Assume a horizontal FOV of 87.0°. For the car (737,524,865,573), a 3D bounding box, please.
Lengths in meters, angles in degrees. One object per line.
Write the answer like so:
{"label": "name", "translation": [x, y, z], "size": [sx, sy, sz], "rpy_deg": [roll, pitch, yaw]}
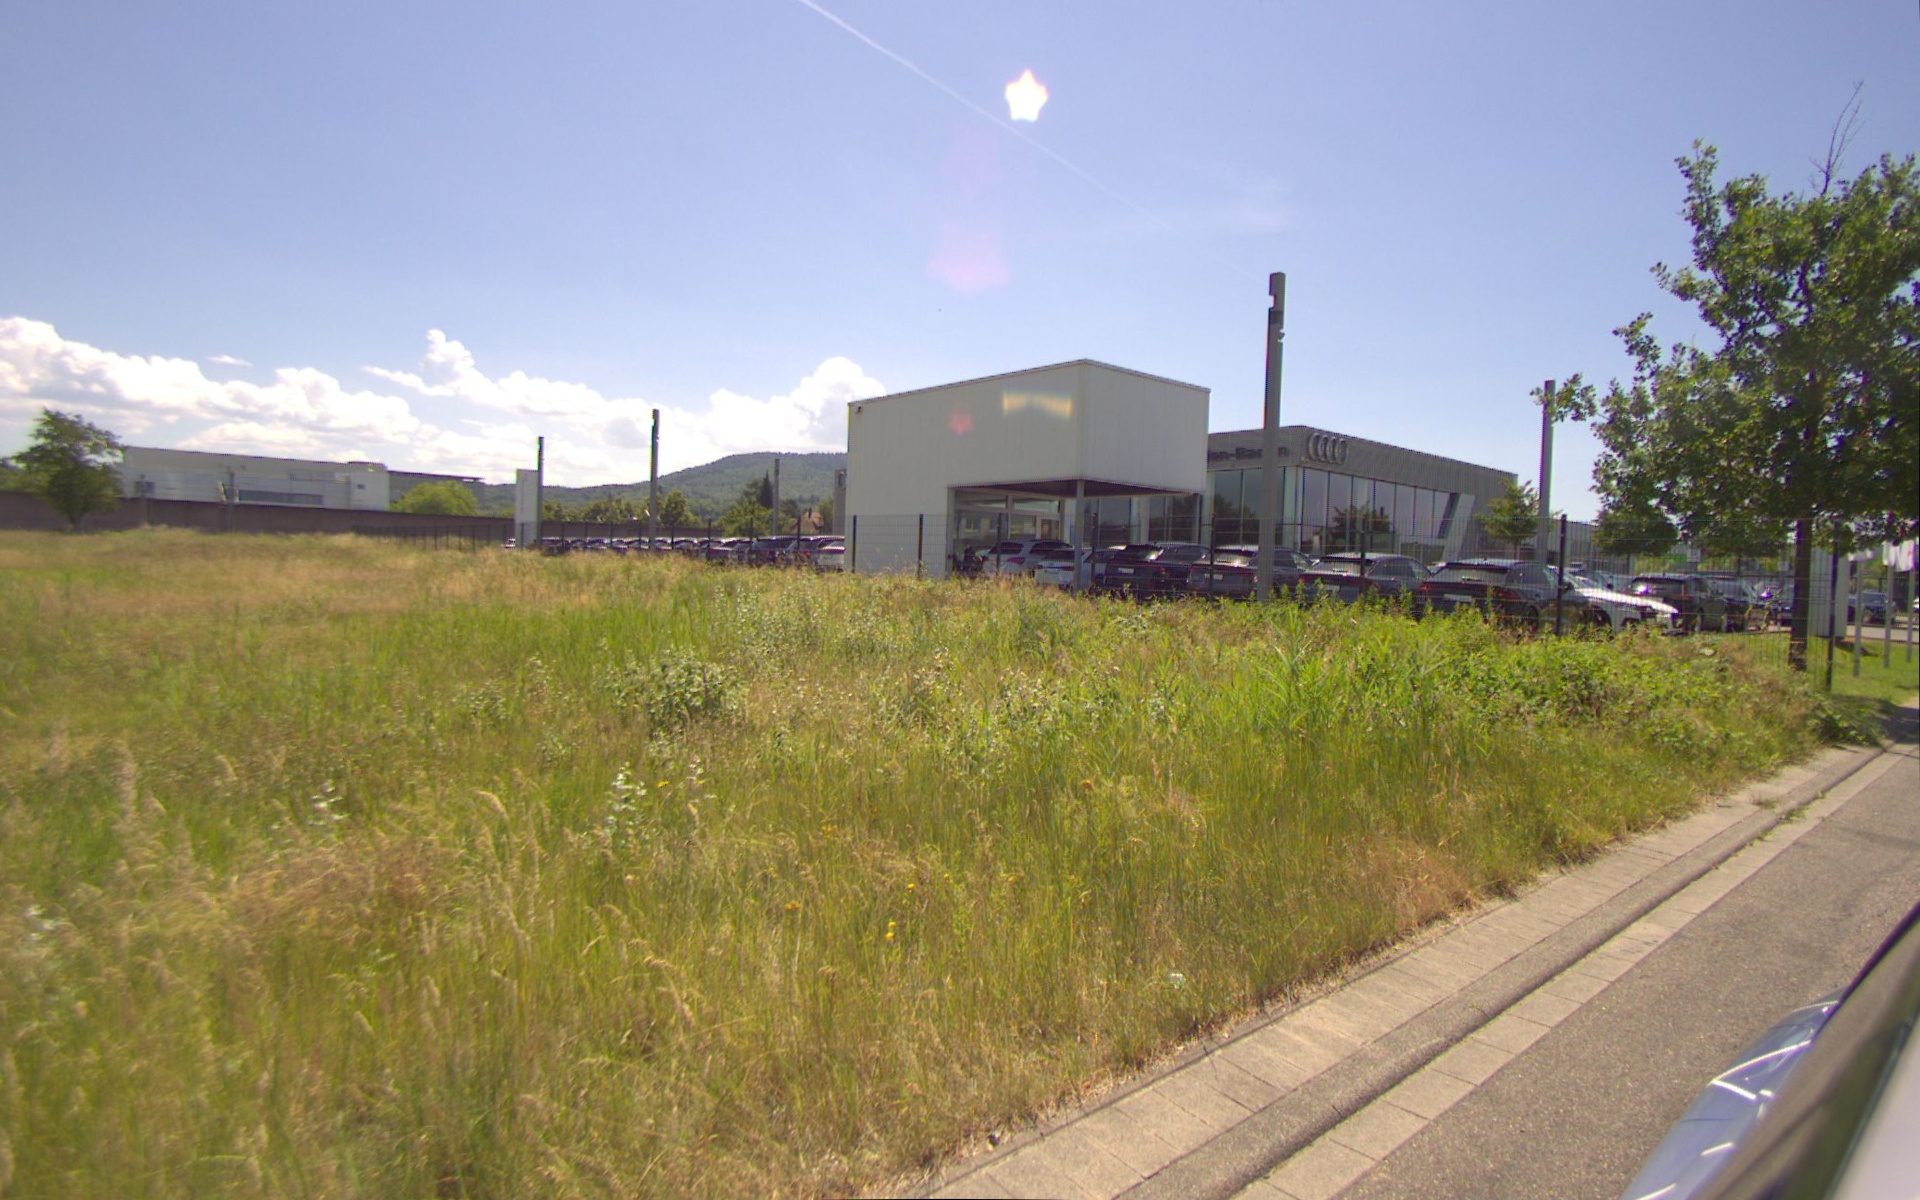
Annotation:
{"label": "car", "translation": [-6.435, -2.086, 41.203], "size": [4.722, 1.746, 2.030], "rpy_deg": [0, 4, -39]}

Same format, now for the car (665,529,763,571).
{"label": "car", "translation": [-11.399, -2.309, 46.951], "size": [3.930, 1.807, 1.998], "rpy_deg": [0, 3, -41]}

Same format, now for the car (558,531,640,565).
{"label": "car", "translation": [-20.641, -2.959, 57.923], "size": [3.930, 1.807, 1.998], "rpy_deg": [0, 3, -41]}

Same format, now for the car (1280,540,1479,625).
{"label": "car", "translation": [9.365, -0.381, 22.418], "size": [4.722, 1.630, 2.030], "rpy_deg": [0, 4, -39]}

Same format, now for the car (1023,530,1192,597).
{"label": "car", "translation": [4.228, -1.011, 28.657], "size": [4.722, 1.674, 2.030], "rpy_deg": [0, 4, -39]}

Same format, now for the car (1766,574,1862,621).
{"label": "car", "translation": [32.359, -0.149, 38.303], "size": [4.900, 1.474, 1.966], "rpy_deg": [-2, 5, -41]}

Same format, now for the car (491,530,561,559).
{"label": "car", "translation": [-29.406, -3.732, 68.542], "size": [3.930, 1.807, 1.998], "rpy_deg": [0, 3, -41]}

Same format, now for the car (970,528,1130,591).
{"label": "car", "translation": [2.801, -1.202, 30.760], "size": [4.722, 1.674, 2.030], "rpy_deg": [0, 4, -39]}

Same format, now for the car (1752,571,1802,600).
{"label": "car", "translation": [54.715, -0.956, 67.773], "size": [4.341, 1.714, 1.829], "rpy_deg": [0, 5, -42]}

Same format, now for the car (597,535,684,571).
{"label": "car", "translation": [-16.983, -2.496, 53.832], "size": [3.930, 1.807, 1.998], "rpy_deg": [0, 3, -41]}

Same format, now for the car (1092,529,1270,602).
{"label": "car", "translation": [5.861, -0.883, 26.595], "size": [4.722, 1.700, 2.030], "rpy_deg": [0, 4, -39]}

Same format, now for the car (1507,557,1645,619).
{"label": "car", "translation": [18.119, -0.346, 29.688], "size": [4.695, 1.609, 2.030], "rpy_deg": [0, 4, -41]}

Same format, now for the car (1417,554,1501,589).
{"label": "car", "translation": [25.095, -1.470, 50.823], "size": [4.900, 1.640, 1.966], "rpy_deg": [-2, 5, -41]}

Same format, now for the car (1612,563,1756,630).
{"label": "car", "translation": [19.763, -0.105, 27.555], "size": [4.695, 1.592, 2.030], "rpy_deg": [0, 4, -41]}

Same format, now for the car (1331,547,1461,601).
{"label": "car", "translation": [14.489, -0.835, 33.528], "size": [4.695, 1.609, 2.030], "rpy_deg": [0, 4, -41]}

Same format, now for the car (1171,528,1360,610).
{"label": "car", "translation": [7.452, -0.726, 24.498], "size": [4.722, 1.746, 2.030], "rpy_deg": [0, 4, -39]}

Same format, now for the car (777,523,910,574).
{"label": "car", "translation": [-4.466, -1.966, 39.220], "size": [4.722, 1.746, 2.030], "rpy_deg": [0, 4, -39]}

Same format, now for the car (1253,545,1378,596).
{"label": "car", "translation": [12.619, -1.031, 35.830], "size": [4.695, 1.609, 2.030], "rpy_deg": [0, 4, -41]}

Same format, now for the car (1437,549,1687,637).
{"label": "car", "translation": [13.909, -0.234, 23.649], "size": [1.994, 1.713, 4.543], "rpy_deg": [1, 4, -37]}

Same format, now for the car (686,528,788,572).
{"label": "car", "translation": [-9.910, -2.219, 45.120], "size": [3.930, 1.807, 1.998], "rpy_deg": [0, 3, -41]}

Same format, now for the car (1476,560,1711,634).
{"label": "car", "translation": [15.759, -0.133, 25.373], "size": [1.995, 1.475, 4.541], "rpy_deg": [0, 4, -39]}

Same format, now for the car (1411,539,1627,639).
{"label": "car", "translation": [11.358, -0.231, 20.402], "size": [5.016, 1.713, 2.030], "rpy_deg": [0, 4, -39]}

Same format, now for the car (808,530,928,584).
{"label": "car", "translation": [-3.341, -1.558, 37.000], "size": [3.930, 1.807, 1.998], "rpy_deg": [0, 3, -41]}

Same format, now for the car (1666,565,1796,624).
{"label": "car", "translation": [23.702, -0.167, 31.037], "size": [5.147, 1.532, 2.030], "rpy_deg": [0, 5, -41]}

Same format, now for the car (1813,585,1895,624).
{"label": "car", "translation": [38.318, 0.226, 43.343], "size": [4.637, 1.382, 1.967], "rpy_deg": [2, 4, -41]}

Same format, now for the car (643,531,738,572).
{"label": "car", "translation": [-13.038, -2.337, 49.053], "size": [3.930, 1.807, 1.998], "rpy_deg": [0, 3, -41]}
